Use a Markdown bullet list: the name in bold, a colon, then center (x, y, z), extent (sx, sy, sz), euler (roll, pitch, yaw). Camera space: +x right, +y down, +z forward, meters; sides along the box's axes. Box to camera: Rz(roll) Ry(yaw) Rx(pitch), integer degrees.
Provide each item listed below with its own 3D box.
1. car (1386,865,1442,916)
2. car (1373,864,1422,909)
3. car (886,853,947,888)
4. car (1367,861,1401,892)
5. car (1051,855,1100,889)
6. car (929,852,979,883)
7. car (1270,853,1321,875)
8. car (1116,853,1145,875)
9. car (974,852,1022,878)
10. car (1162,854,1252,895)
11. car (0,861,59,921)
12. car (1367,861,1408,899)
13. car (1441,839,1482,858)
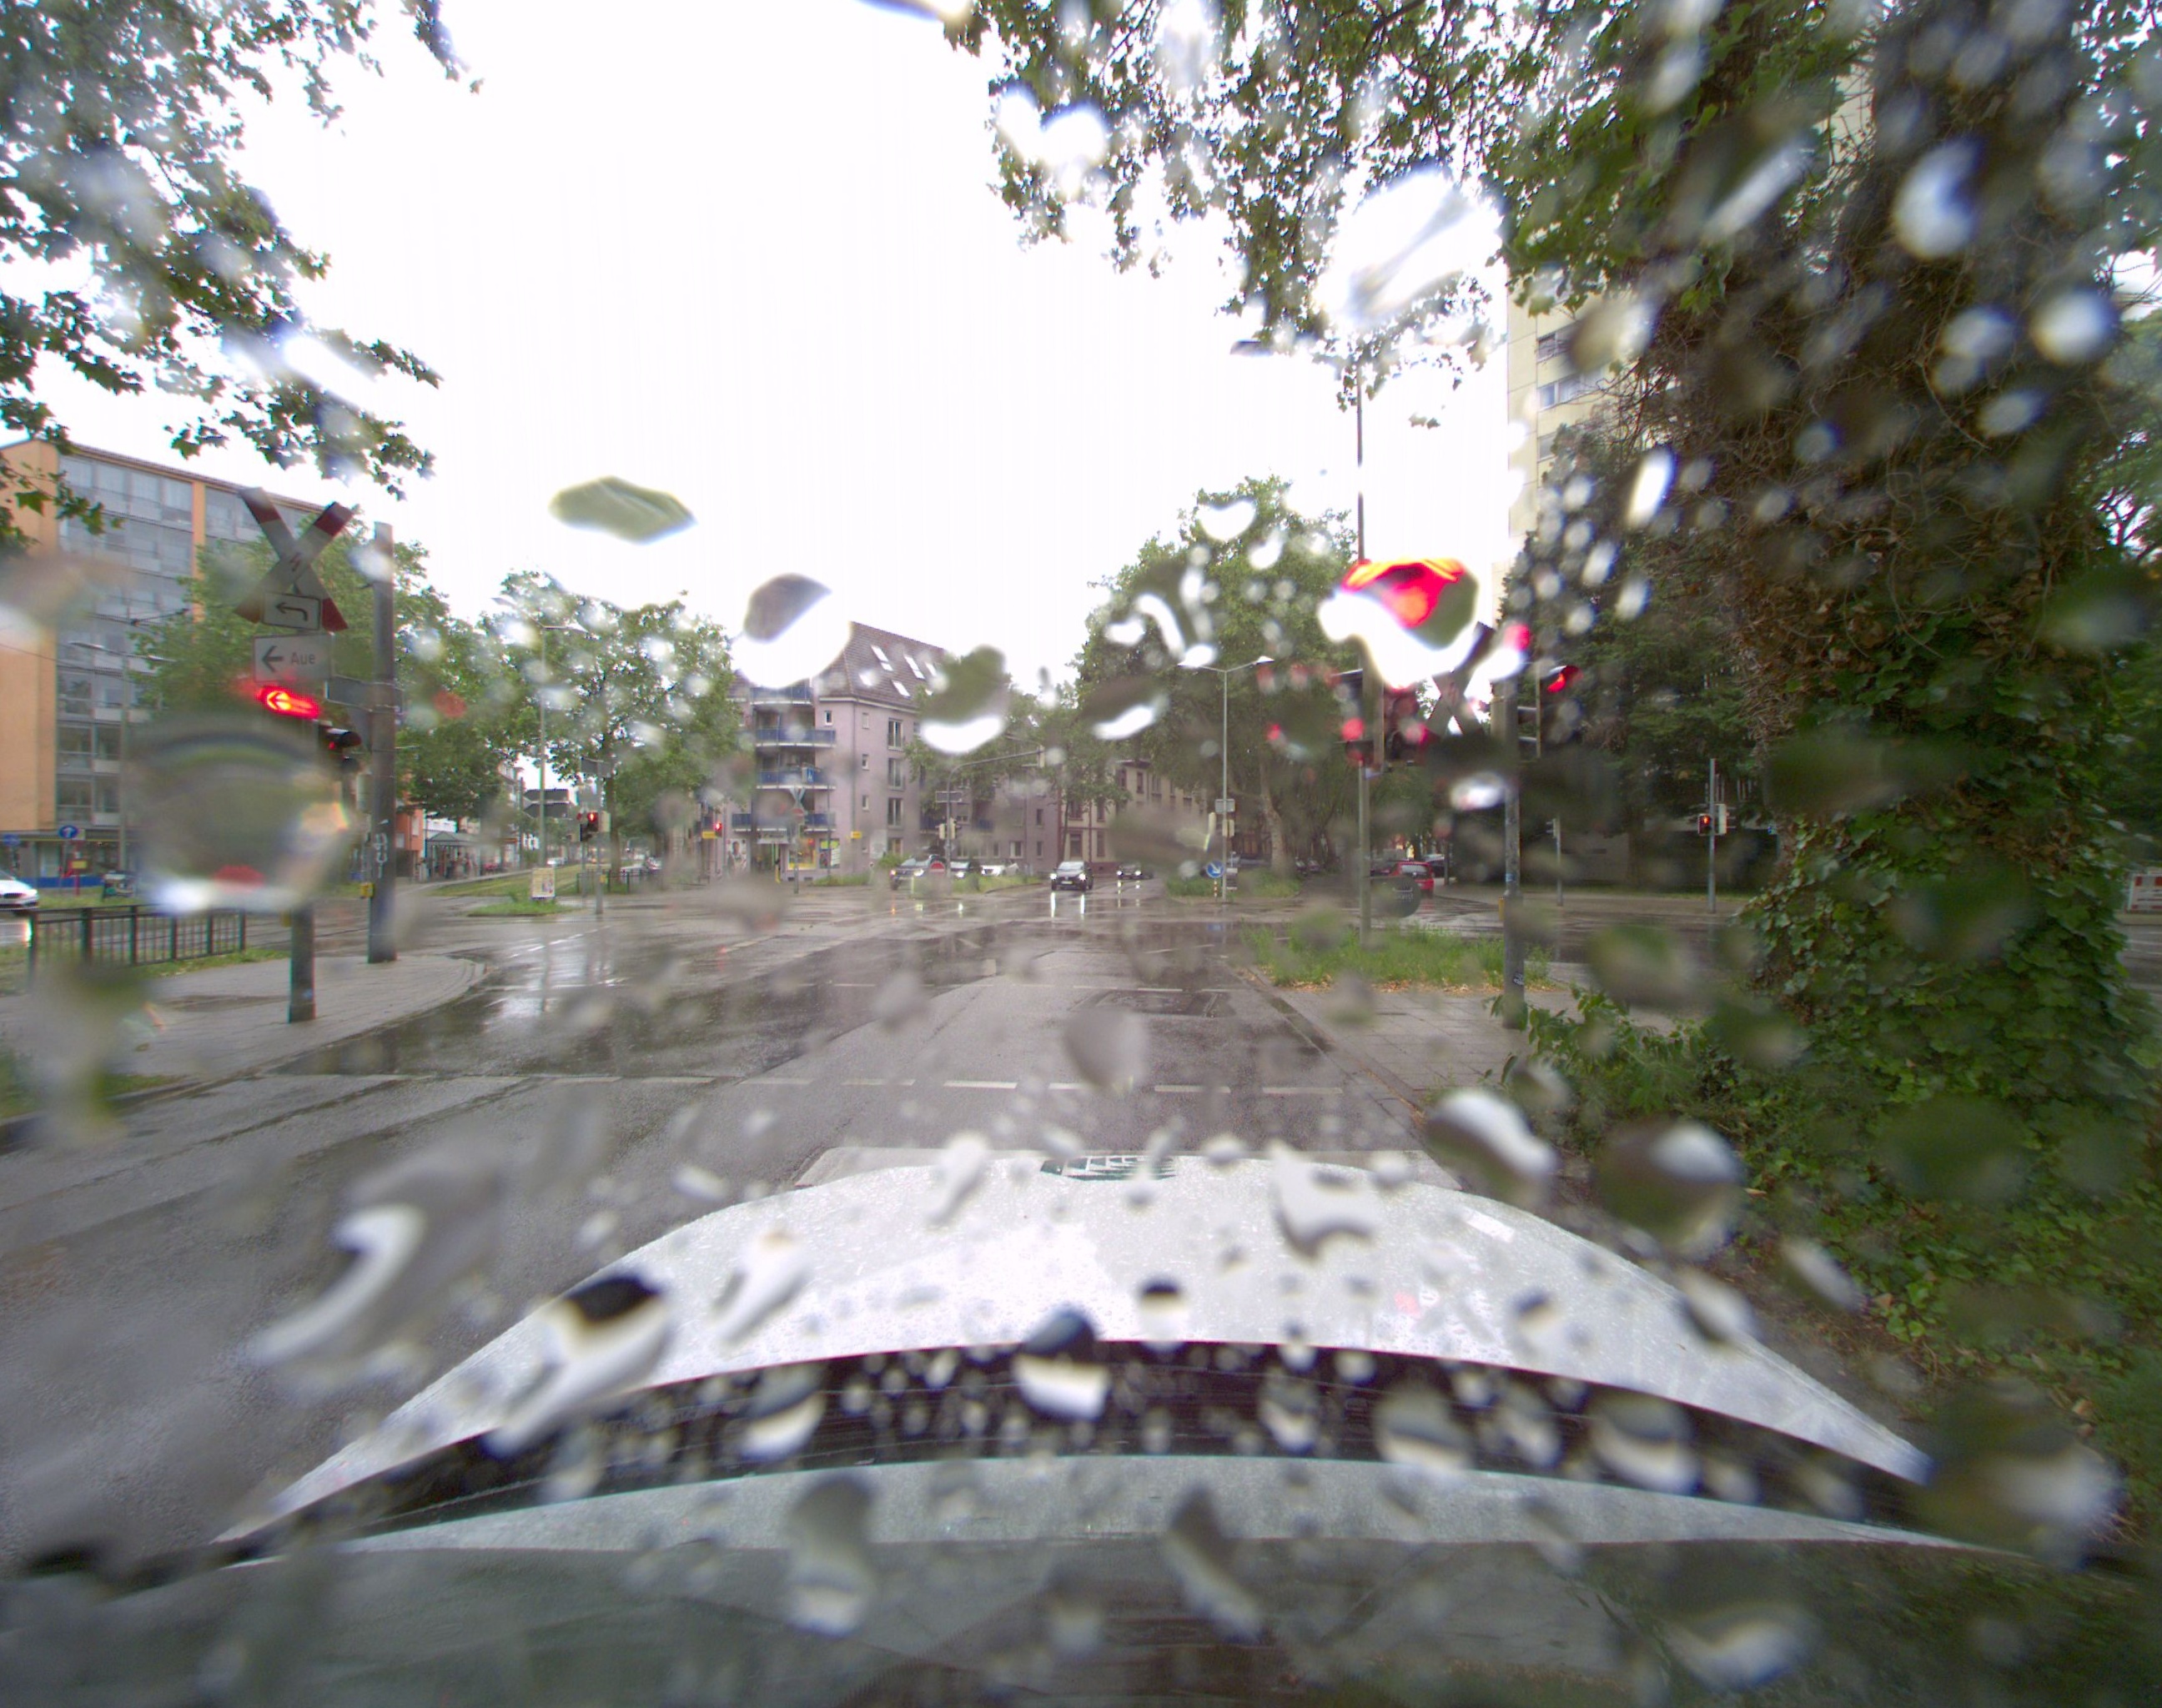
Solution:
- **car**: center (14.743, 1.586, 36.255), extent (1.977, 2.013, 4.019), euler (-2, 0, 18)
- **car**: center (15.609, 1.553, 40.337), extent (1.977, 2.013, 4.019), euler (-2, 0, 18)
- **car**: center (-7.826, 0.744, 39.102), extent (1.715, 1.552, 3.567), euler (-2, 0, 8)
- **car**: center (21.422, 1.585, 57.692), extent (1.977, 2.013, 4.019), euler (-2, 0, 18)
- **car**: center (-0.240, 0.878, 40.610), extent (1.591, 1.552, 3.572), euler (-2, 0, 13)
- **car**: center (-6.983, 0.711, 45.220), extent (1.715, 1.552, 3.567), euler (-2, 0, 8)
- **car**: center (17.182, 0.792, 65.314), extent (3.571, 1.618, 1.692), euler (-2, 0, 30)
- **car**: center (3.722, 0.725, 60.412), extent (1.591, 1.552, 3.571), euler (-2, 0, 12)
- **car**: center (-5.239, 0.684, 52.200), extent (1.665, 1.552, 4.215), euler (-2, 0, 14)
- **car**: center (5.125, 0.813, 33.019), extent (3.457, 1.523, 1.524), euler (-2, 0, 10)
- **car**: center (-32.278, 1.115, 23.463), extent (3.978, 1.651, 1.980), euler (-2, 0, 13)
- **car**: center (17.722, 1.470, 47.262), extent (1.977, 2.013, 4.019), euler (-2, 0, 18)
- **car**: center (42.566, -0.606, 91.127), extent (3.953, 2.013, 1.716), euler (-2, 0, 21)
